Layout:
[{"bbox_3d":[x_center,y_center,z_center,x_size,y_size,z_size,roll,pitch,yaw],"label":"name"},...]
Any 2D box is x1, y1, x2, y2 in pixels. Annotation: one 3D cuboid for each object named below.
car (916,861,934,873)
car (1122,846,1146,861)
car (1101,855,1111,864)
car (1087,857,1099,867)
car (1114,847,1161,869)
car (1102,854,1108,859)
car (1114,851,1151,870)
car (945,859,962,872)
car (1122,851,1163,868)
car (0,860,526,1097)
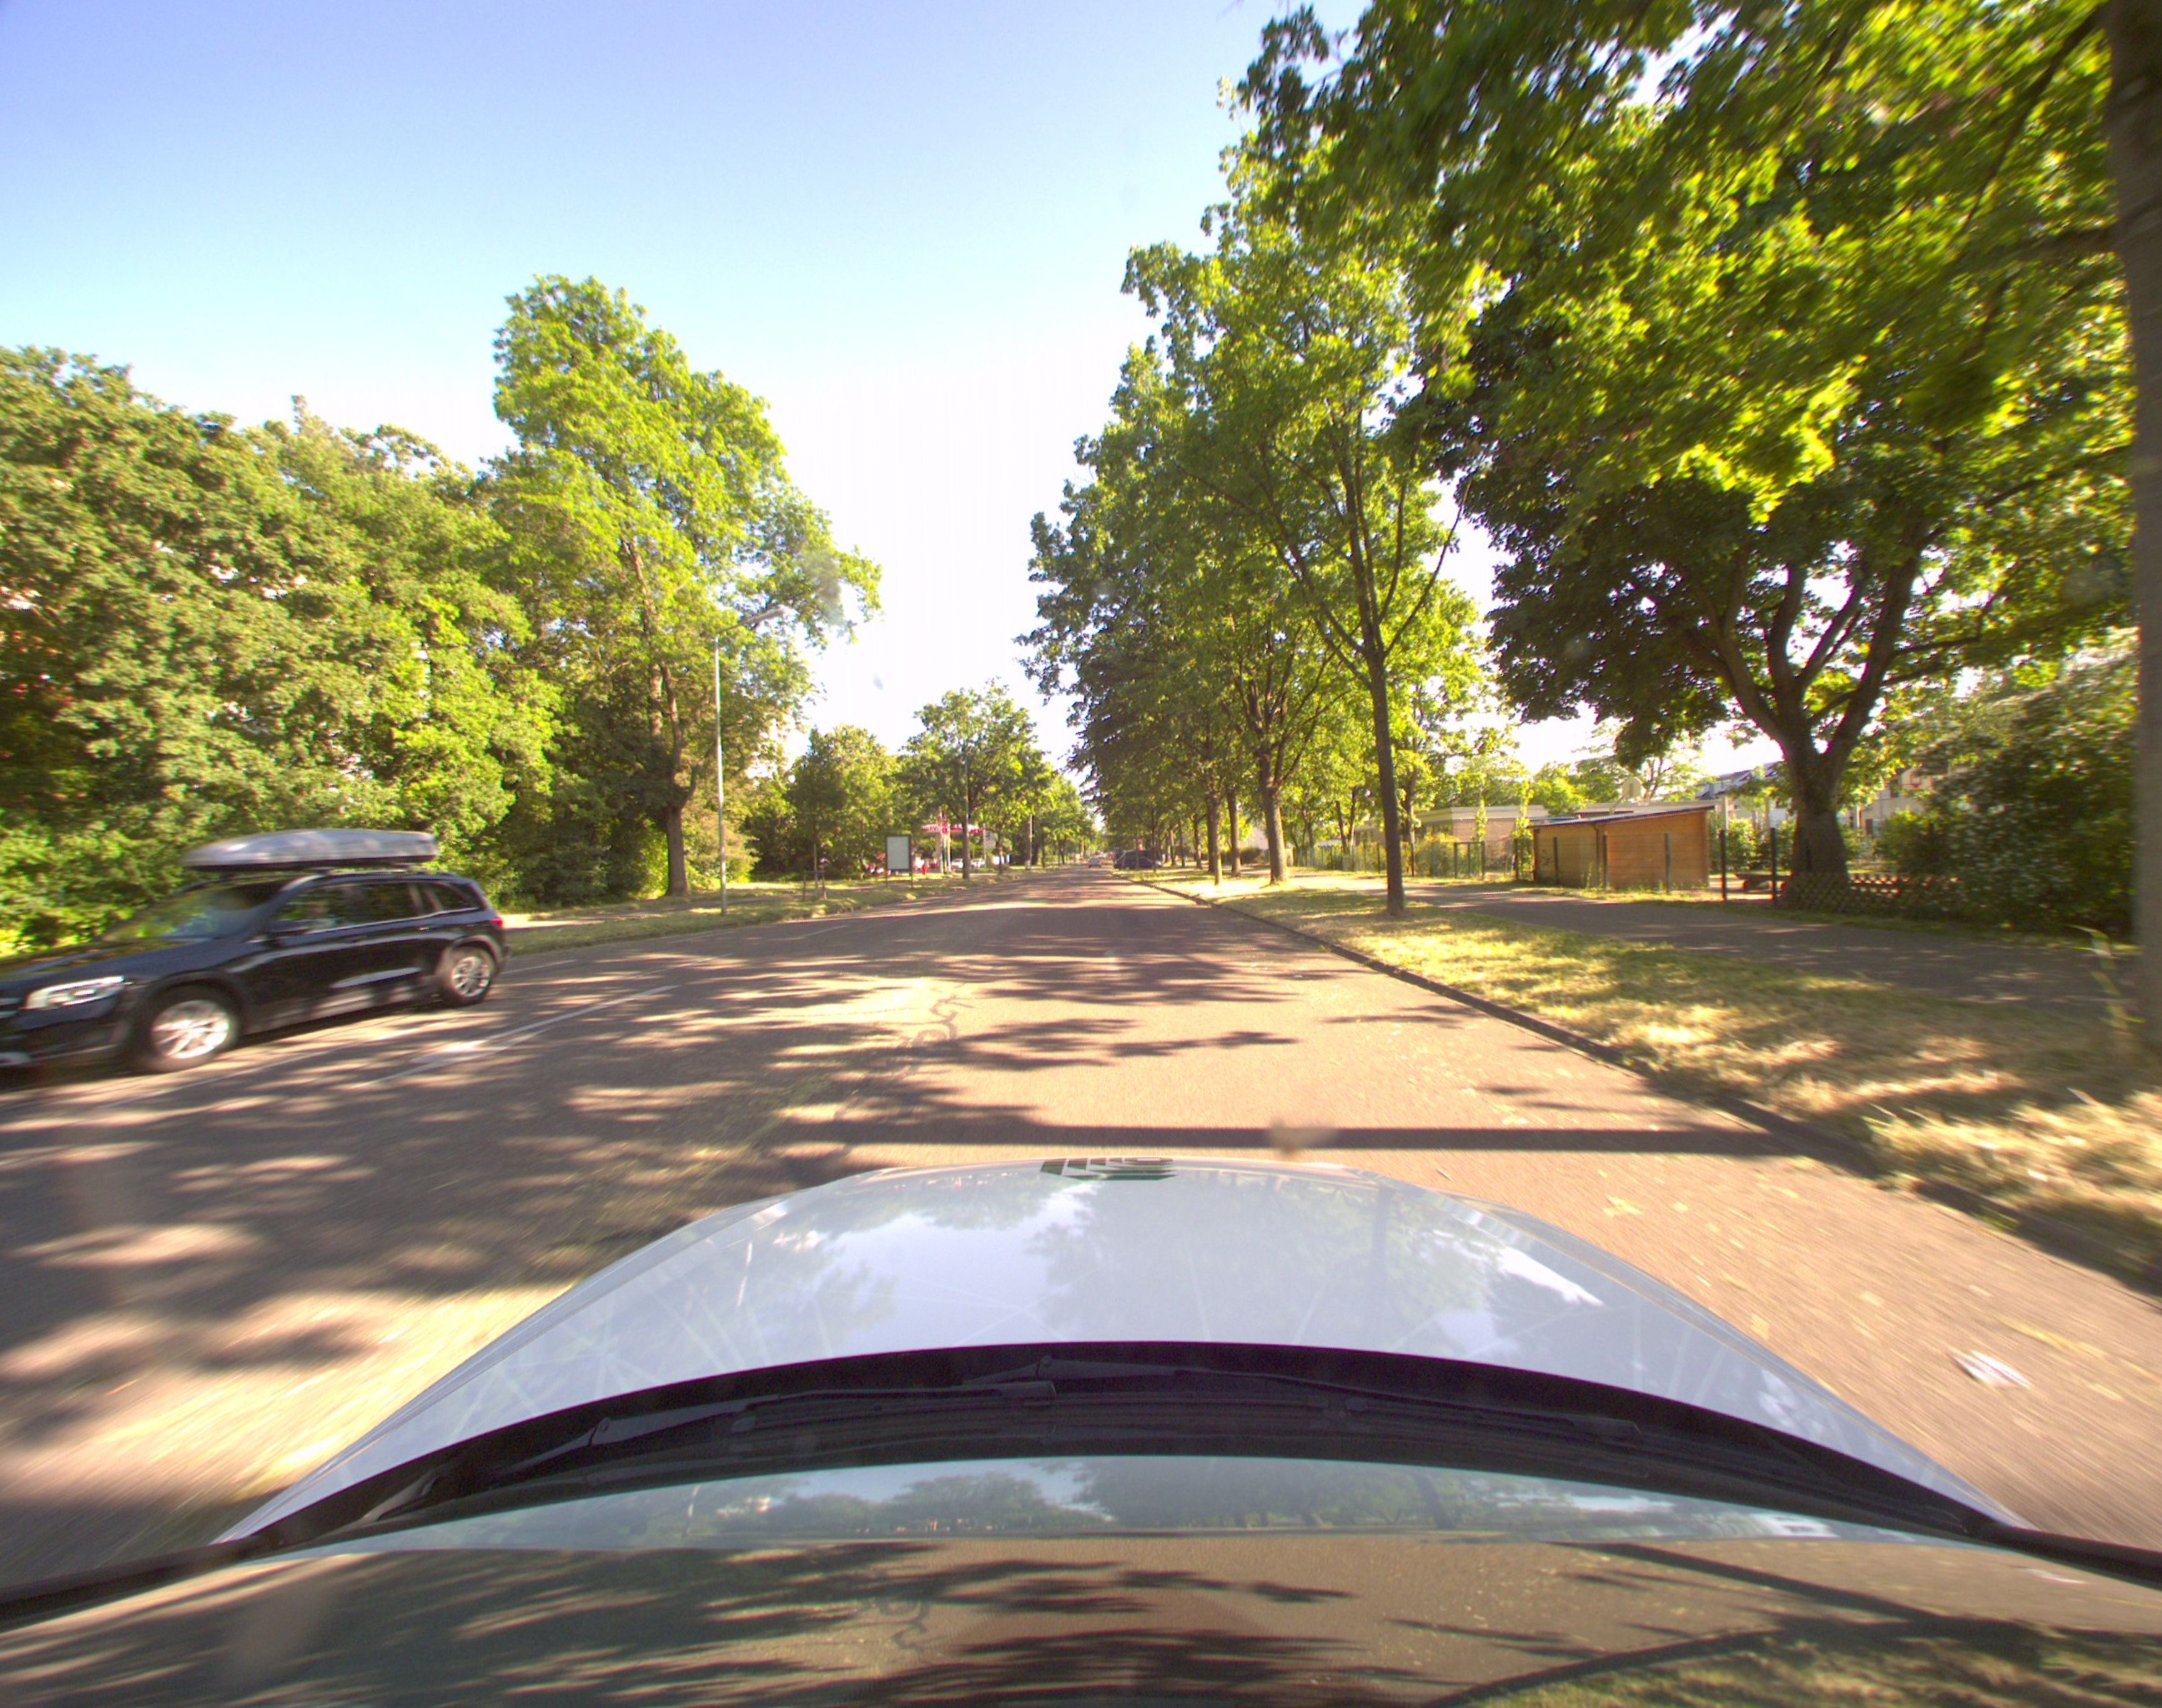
[{"bbox_3d":[-22.474,1.884,117.204,1.795,1.621,3.804,-2,-1,0],"label":"car"},{"bbox_3d":[8.336,-0.085,127.727,3.555,2.051,1.633,-2,-2,1],"label":"car"},{"bbox_3d":[4.229,0.938,137.821,1.655,1.337,3.665,-2,-1,1],"label":"car"},{"bbox_3d":[1.667,1.091,114.179,1.655,1.337,3.665,-2,-1,1],"label":"car"},{"bbox_3d":[5.465,0.378,79.151,4.487,1.953,1.687,-2,-2,0],"label":"car"},{"bbox_3d":[7.530,0.720,258.147,1.655,1.337,3.665,-2,-1,1],"label":"car"},{"bbox_3d":[5.125,0.671,81.640,3.640,1.797,1.317,-2,-2,0],"label":"car"},{"bbox_3d":[-17.938,1.634,114.576,1.796,1.823,3.803,-2,-1,-1],"label":"car"},{"bbox_3d":[5.733,0.551,76.164,3.640,1.398,1.317,-2,-2,0],"label":"car"},{"bbox_3d":[-8.318,0.977,8.356,1.831,1.708,4.510,-3,0,4],"label":"car"}]
